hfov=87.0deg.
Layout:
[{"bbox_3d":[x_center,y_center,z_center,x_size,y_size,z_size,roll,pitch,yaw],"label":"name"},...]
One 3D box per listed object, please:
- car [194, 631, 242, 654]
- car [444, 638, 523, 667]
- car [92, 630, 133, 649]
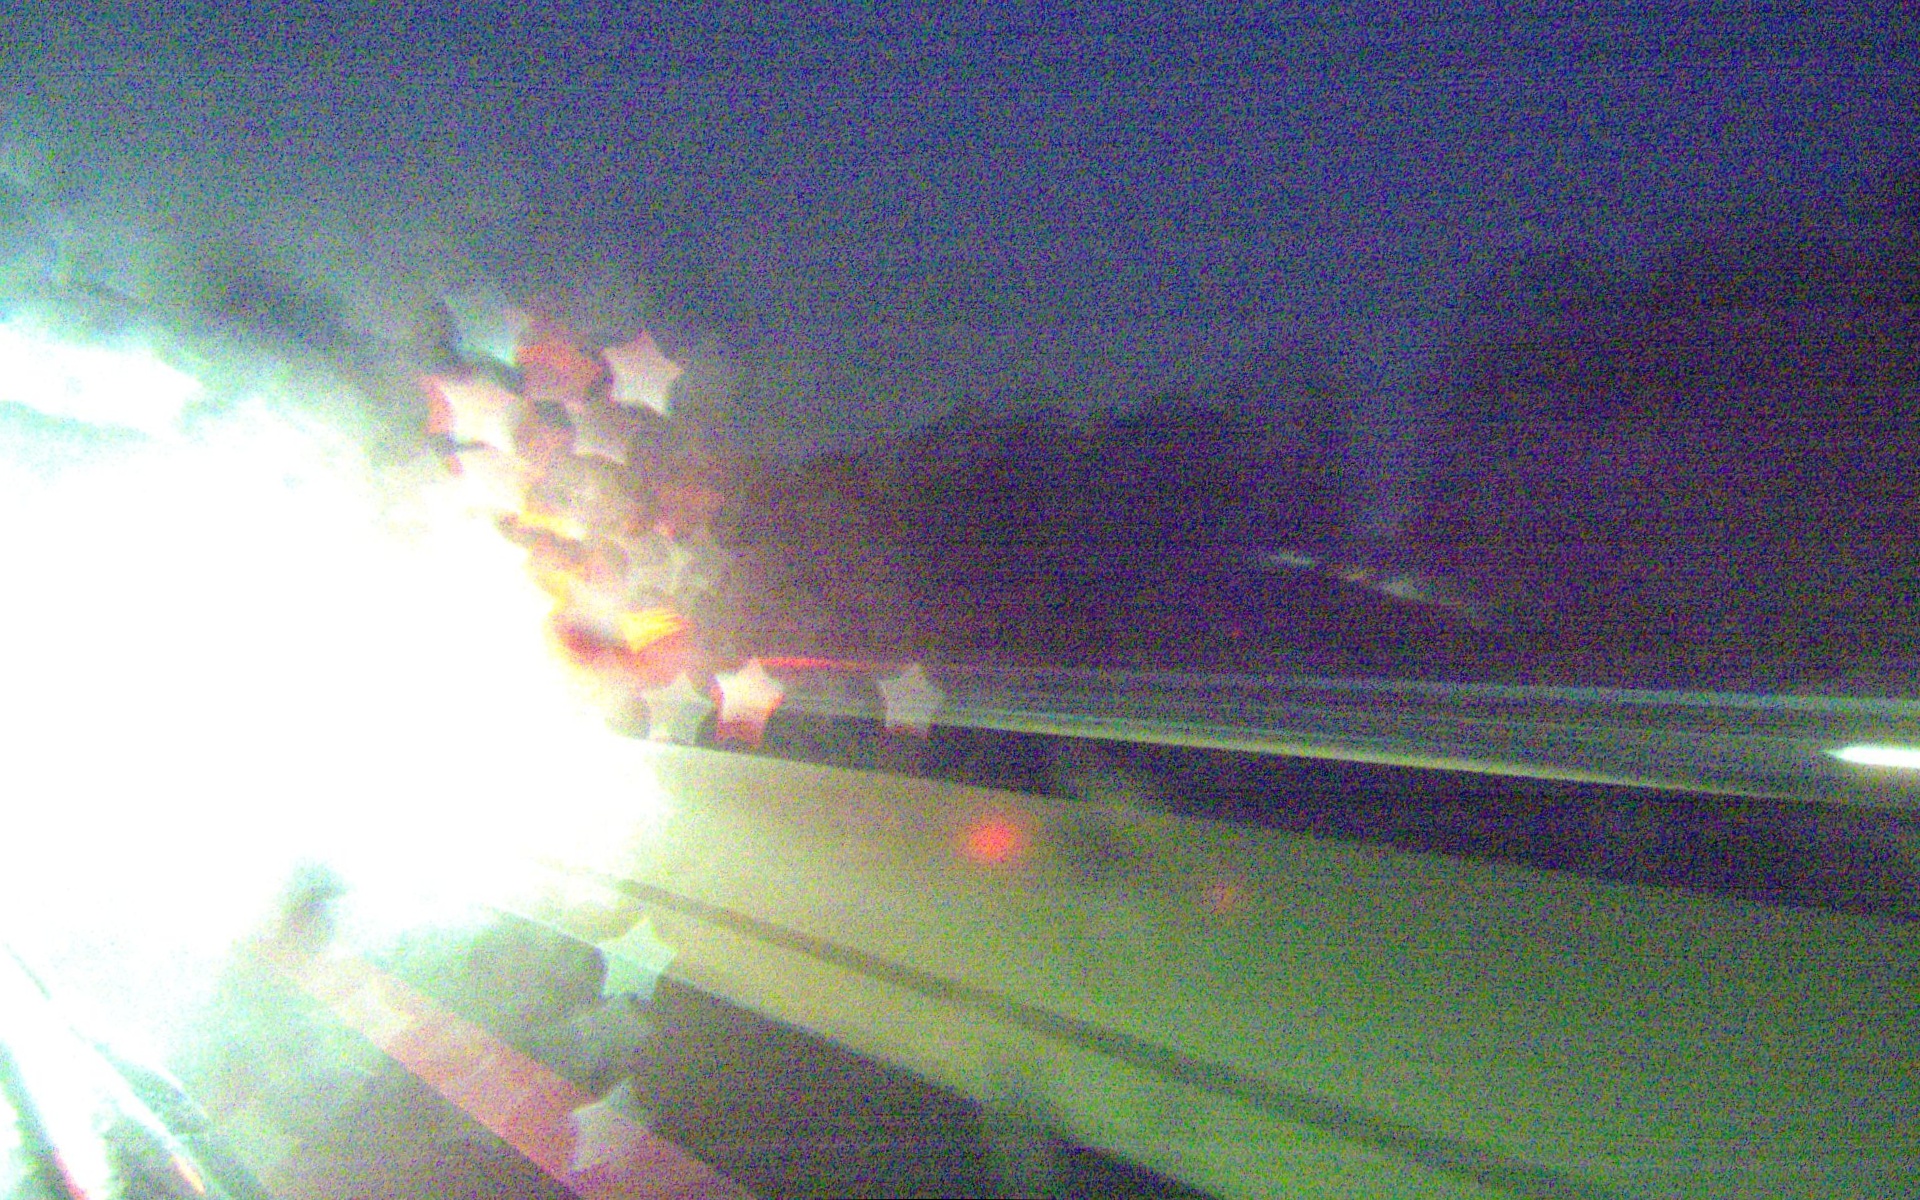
[{"bbox_3d":[-55.055,3.128,75.063,5.371,1.595,1.872,-1,0,43],"label":"car"},{"bbox_3d":[-21.097,2.315,44.765,4.043,1.111,1.621,-1,0,40],"label":"car"},{"bbox_3d":[-68.625,3.179,81.904,4.349,1.433,1.764,-1,-3,40],"label":"car"}]
